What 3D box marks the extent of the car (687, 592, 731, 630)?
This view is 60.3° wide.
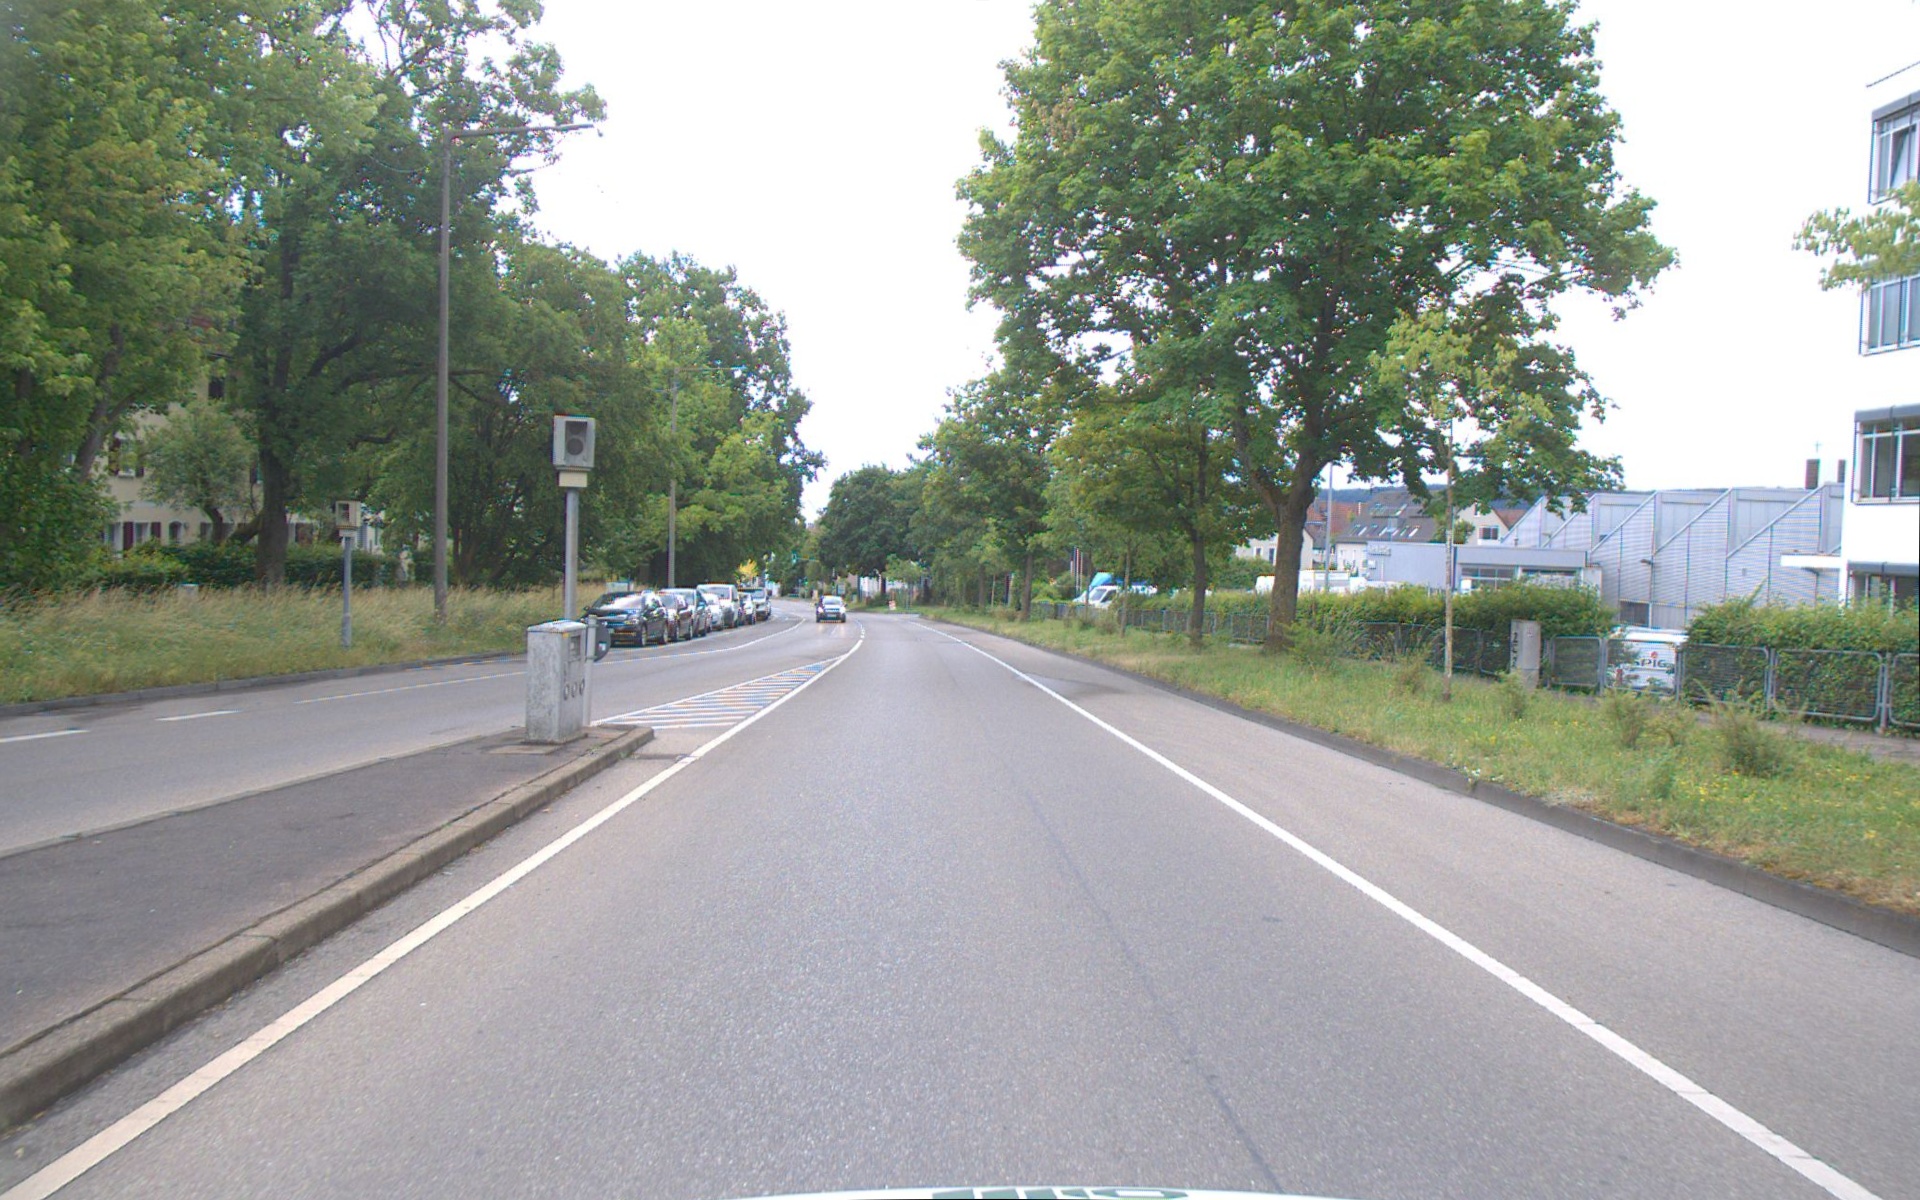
[{"bbox_3d":[-10.237,0.420,67.528,1.604,1.458,3.944,2,0,-7],"label":"car"}]

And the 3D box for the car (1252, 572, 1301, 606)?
[{"bbox_3d":[27.436,-0.977,143.316,2.217,2.723,5.432,1,2,35],"label":"car"}]

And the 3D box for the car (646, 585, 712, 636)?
[{"bbox_3d":[-9.425,0.316,55.660,1.733,1.619,4.132,1,0,-3],"label":"car"}]

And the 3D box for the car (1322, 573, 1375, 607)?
[{"bbox_3d":[33.330,-0.871,141.767,2.221,2.723,5.421,2,3,40],"label":"car"}]

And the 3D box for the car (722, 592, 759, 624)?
[{"bbox_3d":[-11.175,0.415,84.461,1.640,1.592,4.277,0,0,-5],"label":"car"}]

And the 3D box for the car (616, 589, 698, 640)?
[{"bbox_3d":[-9.162,0.414,50.349,1.732,1.473,4.149,1,0,0],"label":"car"}]

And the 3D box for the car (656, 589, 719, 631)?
[{"bbox_3d":[-10.302,0.355,62.769,1.732,1.521,4.356,0,0,-1],"label":"car"}]

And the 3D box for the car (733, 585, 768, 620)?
[{"bbox_3d":[-12.505,0.140,99.044,1.830,1.998,5.121,1,0,-5],"label":"car"}]

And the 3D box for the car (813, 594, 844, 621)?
[{"bbox_3d":[-7.473,0.423,94.172,1.604,1.493,3.998,0,0,-2],"label":"car"}]

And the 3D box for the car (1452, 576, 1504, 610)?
[{"bbox_3d":[43.838,-0.624,139.938,2.221,2.723,5.421,2,3,40],"label":"car"}]

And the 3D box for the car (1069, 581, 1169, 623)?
[{"bbox_3d":[10.081,0.133,104.765,5.940,2.408,2.341,2,0,-28],"label":"car"}]

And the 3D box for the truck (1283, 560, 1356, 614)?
[{"bbox_3d":[25.018,-0.862,115.618,2.795,3.519,9.539,2,0,-1],"label":"truck"}]

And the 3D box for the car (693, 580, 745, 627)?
[{"bbox_3d":[-10.655,0.122,73.331,1.732,1.964,5.152,2,0,-3],"label":"car"}]

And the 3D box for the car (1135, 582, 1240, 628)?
[{"bbox_3d":[11.841,0.260,85.990,5.186,2.226,2.052,2,0,-29],"label":"car"}]

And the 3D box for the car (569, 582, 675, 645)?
[{"bbox_3d":[-9.111,0.355,44.962,1.836,1.598,4.651,1,0,0],"label":"car"}]

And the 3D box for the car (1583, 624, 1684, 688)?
[{"bbox_3d":[24.513,2.000,60.313,1.953,2.183,3.999,2,0,-1],"label":"car"}]

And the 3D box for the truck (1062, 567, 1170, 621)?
[{"bbox_3d":[10.657,-0.404,112.775,7.082,3.538,2.595,1,0,-29],"label":"truck"}]
